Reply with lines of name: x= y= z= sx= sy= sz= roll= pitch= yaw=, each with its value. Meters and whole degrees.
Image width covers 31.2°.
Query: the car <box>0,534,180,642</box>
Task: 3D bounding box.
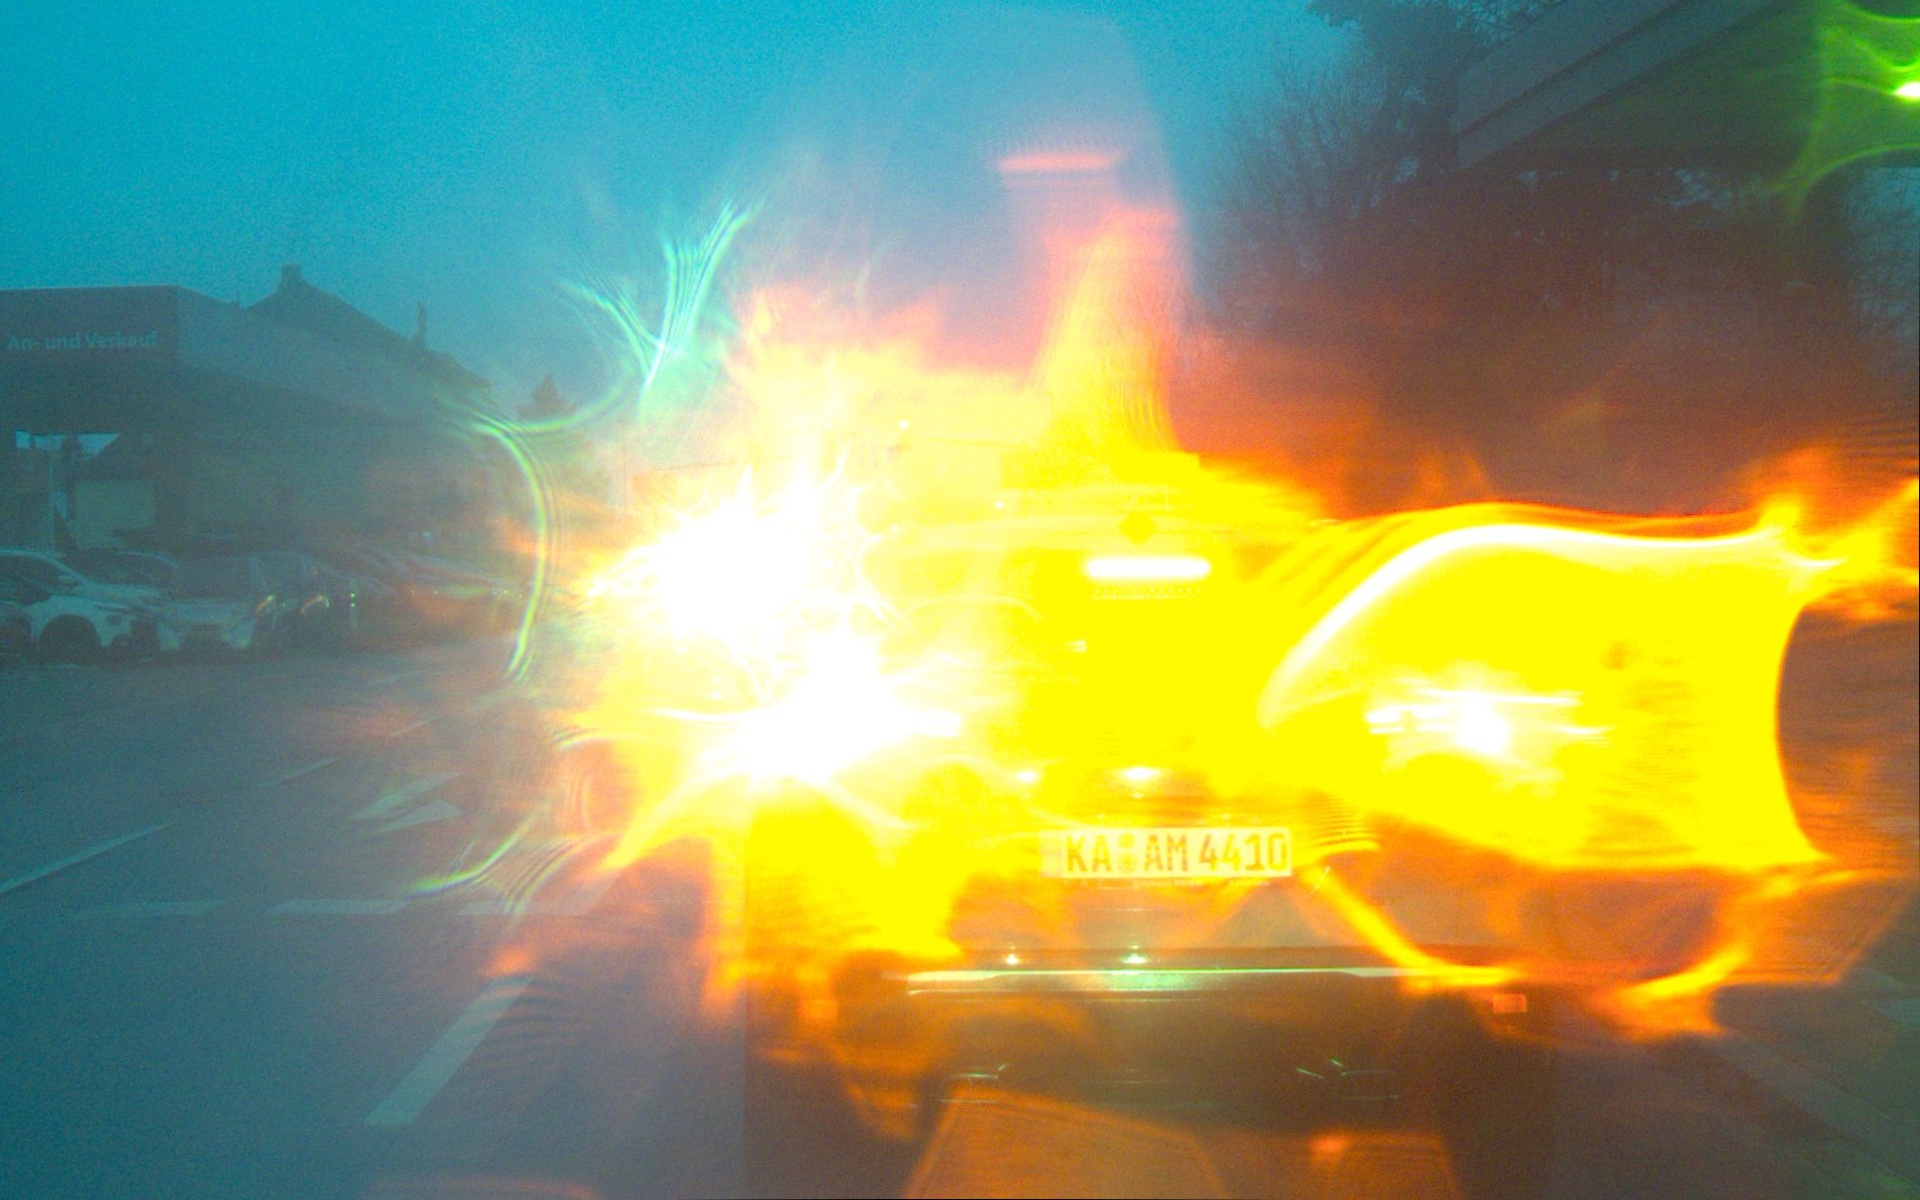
car: x=-14.589 y=-0.189 z=54.354 sx=4.047 sy=1.644 sz=1.942 roll=-1 pitch=1 yaw=1

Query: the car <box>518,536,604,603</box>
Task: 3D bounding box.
car: x=-11.434 y=-0.899 z=98.713 sx=1.970 sy=1.824 sz=4.513 roll=-2 pitch=1 yaw=-1

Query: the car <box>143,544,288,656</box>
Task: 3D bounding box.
car: x=-10.972 y=-0.024 z=50.810 sx=1.518 sy=1.537 sz=3.015 roll=-2 pitch=1 yaw=-2

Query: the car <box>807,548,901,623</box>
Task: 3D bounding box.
car: x=-1.938 y=-0.290 z=63.562 sx=1.653 sy=1.331 sz=4.272 roll=-1 pitch=1 yaw=-1

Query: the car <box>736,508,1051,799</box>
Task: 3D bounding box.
car: x=-0.400 y=0.254 z=21.087 sx=1.708 sy=1.570 sz=4.464 roll=-1 pitch=1 yaw=-1

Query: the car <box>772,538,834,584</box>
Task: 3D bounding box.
car: x=-5.703 y=-1.393 z=124.397 sx=2.047 sy=1.567 sz=4.704 roll=-2 pitch=1 yaw=-4

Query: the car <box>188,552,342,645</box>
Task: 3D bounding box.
car: x=-11.115 y=-0.048 z=55.187 sx=1.682 sy=1.416 sz=3.740 roll=-1 pitch=1 yaw=0

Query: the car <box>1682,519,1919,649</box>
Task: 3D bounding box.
car: x=11.599 y=-0.241 z=45.137 sx=4.471 sy=1.603 sz=2.018 roll=-2 pitch=1 yaw=-45

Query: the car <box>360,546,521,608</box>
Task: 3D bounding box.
car: x=-14.835 y=-0.672 z=98.254 sx=4.276 sy=1.622 sz=2.000 roll=2 pitch=1 yaw=-1

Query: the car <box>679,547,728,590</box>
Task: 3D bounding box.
car: x=-9.631 y=-1.205 z=129.370 sx=1.603 sy=1.529 sz=4.000 roll=-3 pitch=1 yaw=-2

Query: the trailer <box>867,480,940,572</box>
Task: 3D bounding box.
trailer: x=-2.122 y=-2.643 z=125.752 sx=2.488 sy=3.230 sz=10.869 roll=0 pitch=0 yaw=-2

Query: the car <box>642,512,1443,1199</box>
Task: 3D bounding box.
car: x=0.131 y=0.563 z=8.747 sx=1.565 sy=1.524 sz=4.007 roll=0 pitch=1 yaw=-1

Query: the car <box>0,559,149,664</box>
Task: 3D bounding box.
car: x=-13.732 y=0.151 z=49.488 sx=3.771 sy=1.454 sz=1.776 roll=0 pitch=1 yaw=-4
